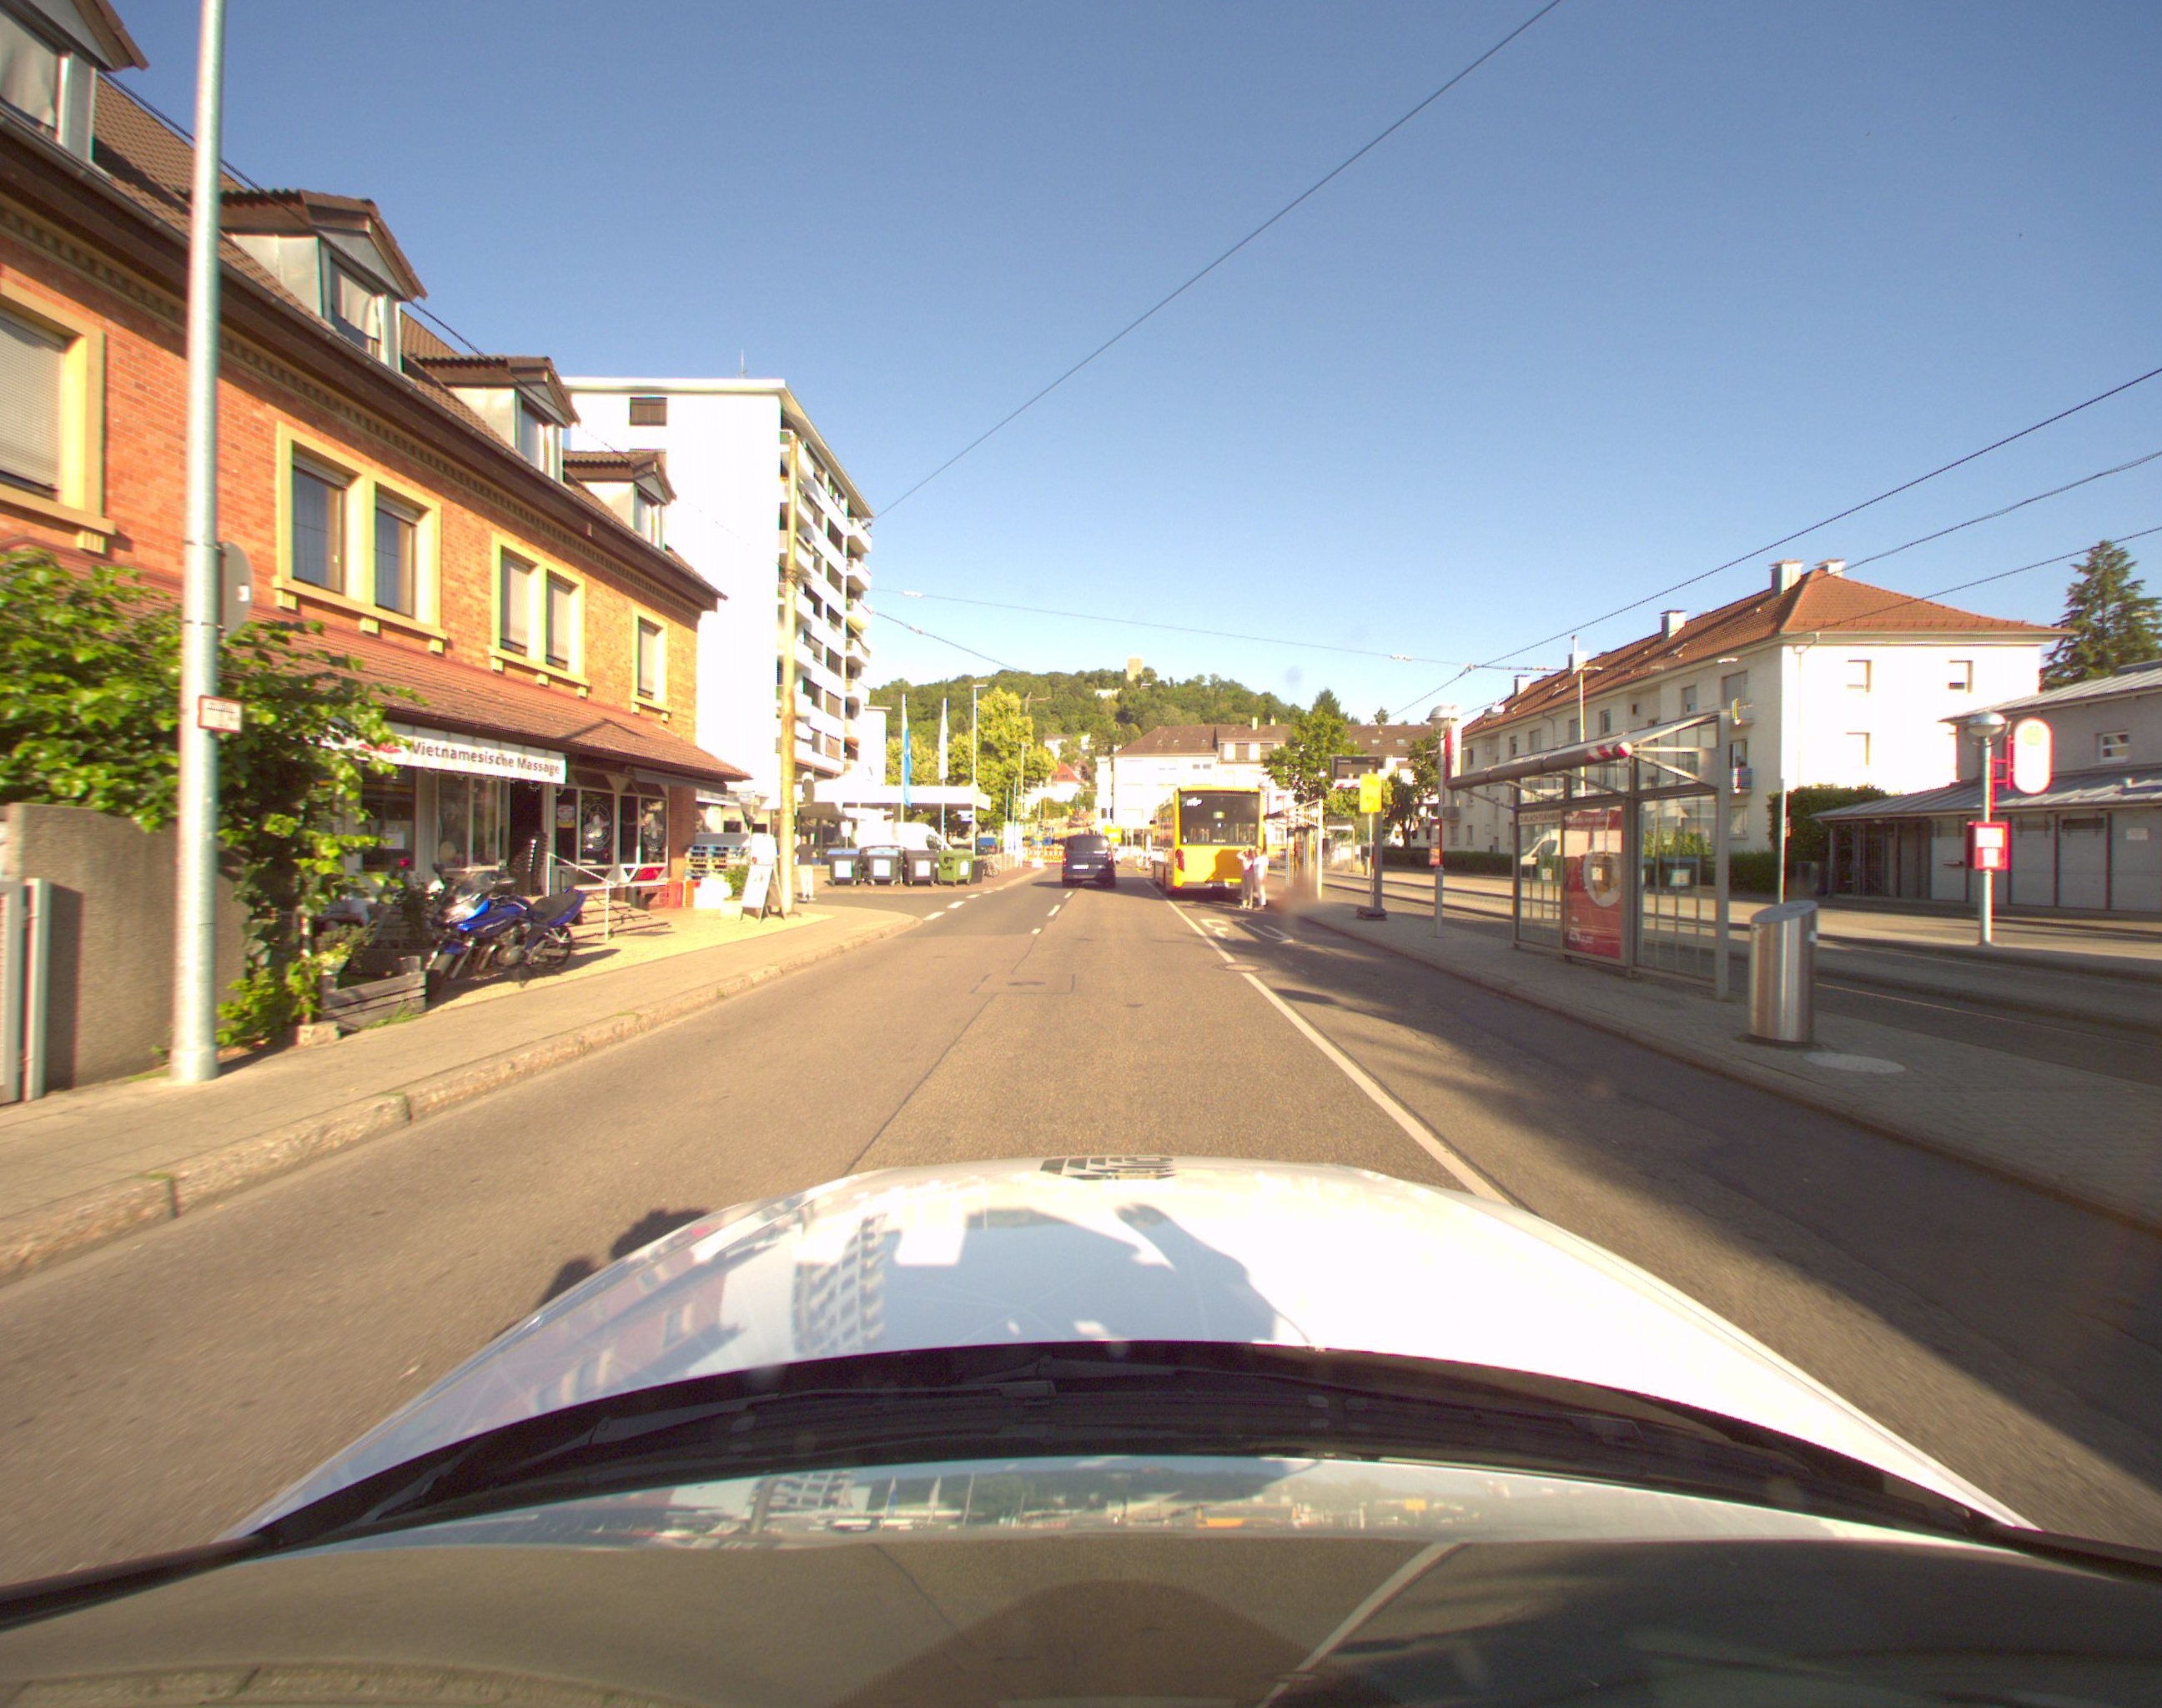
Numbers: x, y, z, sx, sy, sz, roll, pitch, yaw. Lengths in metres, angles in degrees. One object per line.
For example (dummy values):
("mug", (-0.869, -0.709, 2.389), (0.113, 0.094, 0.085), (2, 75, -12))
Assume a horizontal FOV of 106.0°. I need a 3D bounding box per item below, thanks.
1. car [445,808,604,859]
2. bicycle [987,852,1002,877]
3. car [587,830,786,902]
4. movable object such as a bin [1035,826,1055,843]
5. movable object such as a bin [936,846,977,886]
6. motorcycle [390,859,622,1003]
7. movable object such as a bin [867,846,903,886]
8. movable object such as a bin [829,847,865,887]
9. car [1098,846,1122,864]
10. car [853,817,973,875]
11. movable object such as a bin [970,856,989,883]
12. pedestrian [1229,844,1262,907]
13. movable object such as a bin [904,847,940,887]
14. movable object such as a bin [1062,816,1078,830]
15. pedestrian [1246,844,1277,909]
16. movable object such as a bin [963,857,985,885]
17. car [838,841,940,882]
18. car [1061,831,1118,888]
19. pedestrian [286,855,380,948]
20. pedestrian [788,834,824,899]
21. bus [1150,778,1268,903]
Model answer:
("car", (-18.987, -0.680, 27.929), (3.972, 1.526, 2.000), (0, -4, 2))
("bicycle", (-4.214, 0.480, 39.564), (0.722, 1.178, 1.777), (0, 0, -7))
("car", (-10.976, 0.308, 22.905), (4.600, 1.933, 2.000), (0, 0, -1))
("movable object such as a bin", (-5.747, -3.158, 130.415), (2.175, 2.690, 4.015), (0, 1, 13))
("movable object such as a bin", (-4.979, 0.448, 32.627), (1.045, 1.482, 1.321), (2, 4, 30))
("motorcycle", (-5.845, 0.707, 8.510), (0.836, 1.282, 2.231), (1, 0, -1))
("movable object such as a bin", (-7.558, 0.468, 31.484), (1.215, 1.482, 0.704), (0, 3, -3))
("movable object such as a bin", (-8.958, 0.475, 31.252), (1.175, 1.482, 0.704), (0, 3, -3))
("car", (2.327, 0.077, 64.736), (1.786, 1.409, 4.004), (0, 0, 4))
("car", (-7.661, -0.352, 37.066), (5.072, 2.469, 2.095), (1, 0, -20))
("movable object such as a bin", (-4.243, 0.646, 34.127), (0.635, 1.069, 0.582), (1, 3, 14))
("pedestrian", (4.257, 0.549, 21.129), (0.548, 1.613, 0.629), (0, 0, -36))
("movable object such as a bin", (-6.167, 0.495, 31.636), (1.224, 1.482, 0.698), (-1, 4, -27))
("movable object such as a bin", (-2.222, -6.336, 164.889), (2.175, 2.690, 4.015), (0, 1, 13))
("pedestrian", (4.599, 0.558, 20.764), (0.548, 1.613, 0.544), (0, 0, -36))
("movable object such as a bin", (-4.403, 0.690, 33.540), (0.655, 1.062, 0.587), (3, 2, 14))
("car", (-7.986, 0.297, 34.063), (3.990, 1.568, 1.765), (1, 1, -13))
("car", (0.395, 0.195, 31.714), (2.054, 2.013, 5.002), (0, 0, 2))
("pedestrian", (-9.234, 0.565, 10.076), (0.560, 1.109, 0.633), (0, 0, 2))
("pedestrian", (-8.034, 0.361, 23.820), (0.816, 1.867, 0.793), (0, 0, -6))
("bus", (4.019, -0.443, 28.449), (2.678, 3.416, 12.025), (0, 1, 2))
